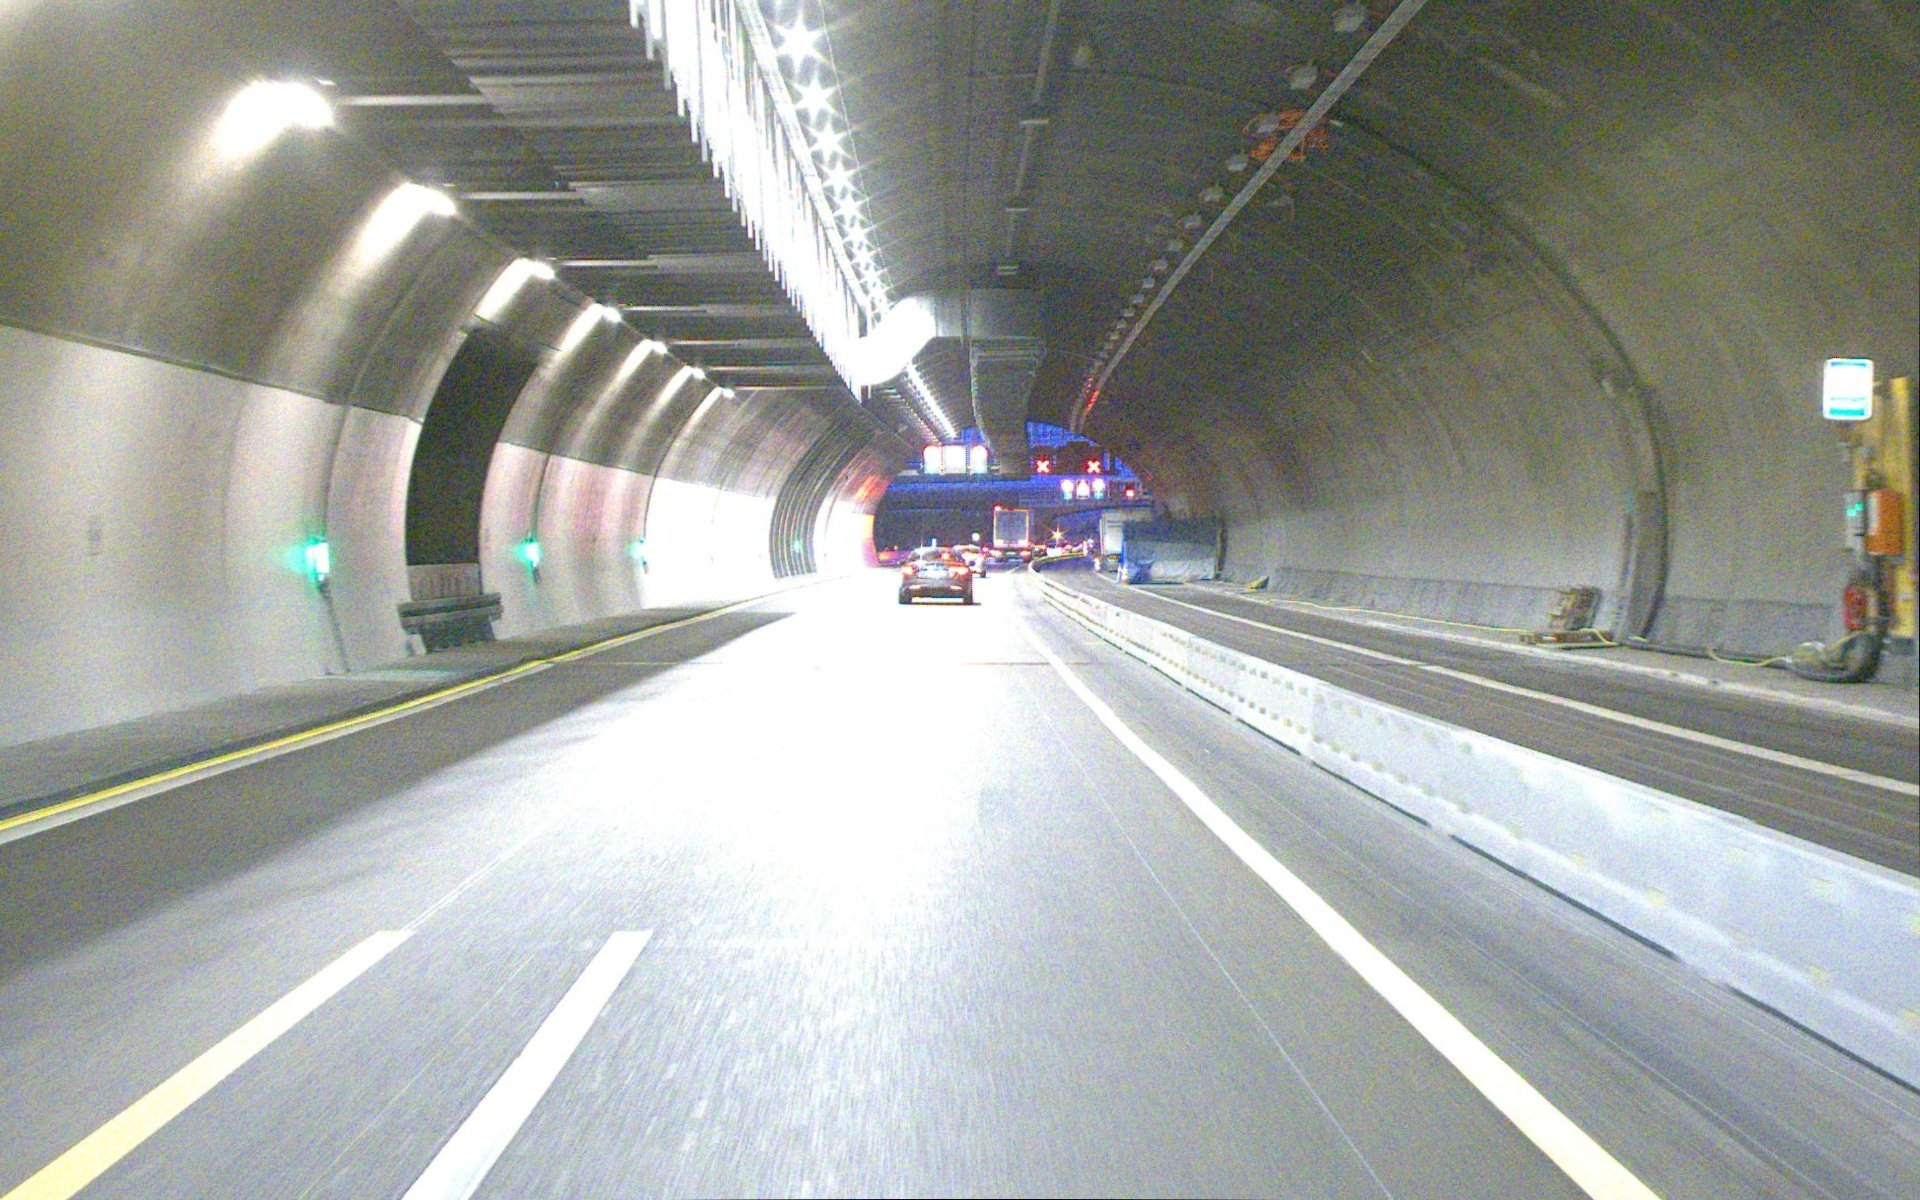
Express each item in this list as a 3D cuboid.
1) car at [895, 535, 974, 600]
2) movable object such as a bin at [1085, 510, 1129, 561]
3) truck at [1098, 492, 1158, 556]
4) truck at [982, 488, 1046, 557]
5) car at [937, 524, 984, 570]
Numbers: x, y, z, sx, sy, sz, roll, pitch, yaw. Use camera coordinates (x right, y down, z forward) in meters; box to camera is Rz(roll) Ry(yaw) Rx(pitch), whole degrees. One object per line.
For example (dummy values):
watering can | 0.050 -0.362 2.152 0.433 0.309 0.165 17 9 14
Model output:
car | -0.674 -0.832 87.260 1.887 1.601 4.000 1 1 -2
movable object such as a bin | 8.130 -3.547 190.200 2.238 2.784 7.233 1 1 1
truck | 8.860 -3.989 181.900 2.892 3.261 8.401 1 1 1
truck | 3.994 -5.688 254.291 4.546 4.970 9.599 1 1 1
car | 0.010 -2.376 152.681 1.993 2.007 4.000 0 1 -1
